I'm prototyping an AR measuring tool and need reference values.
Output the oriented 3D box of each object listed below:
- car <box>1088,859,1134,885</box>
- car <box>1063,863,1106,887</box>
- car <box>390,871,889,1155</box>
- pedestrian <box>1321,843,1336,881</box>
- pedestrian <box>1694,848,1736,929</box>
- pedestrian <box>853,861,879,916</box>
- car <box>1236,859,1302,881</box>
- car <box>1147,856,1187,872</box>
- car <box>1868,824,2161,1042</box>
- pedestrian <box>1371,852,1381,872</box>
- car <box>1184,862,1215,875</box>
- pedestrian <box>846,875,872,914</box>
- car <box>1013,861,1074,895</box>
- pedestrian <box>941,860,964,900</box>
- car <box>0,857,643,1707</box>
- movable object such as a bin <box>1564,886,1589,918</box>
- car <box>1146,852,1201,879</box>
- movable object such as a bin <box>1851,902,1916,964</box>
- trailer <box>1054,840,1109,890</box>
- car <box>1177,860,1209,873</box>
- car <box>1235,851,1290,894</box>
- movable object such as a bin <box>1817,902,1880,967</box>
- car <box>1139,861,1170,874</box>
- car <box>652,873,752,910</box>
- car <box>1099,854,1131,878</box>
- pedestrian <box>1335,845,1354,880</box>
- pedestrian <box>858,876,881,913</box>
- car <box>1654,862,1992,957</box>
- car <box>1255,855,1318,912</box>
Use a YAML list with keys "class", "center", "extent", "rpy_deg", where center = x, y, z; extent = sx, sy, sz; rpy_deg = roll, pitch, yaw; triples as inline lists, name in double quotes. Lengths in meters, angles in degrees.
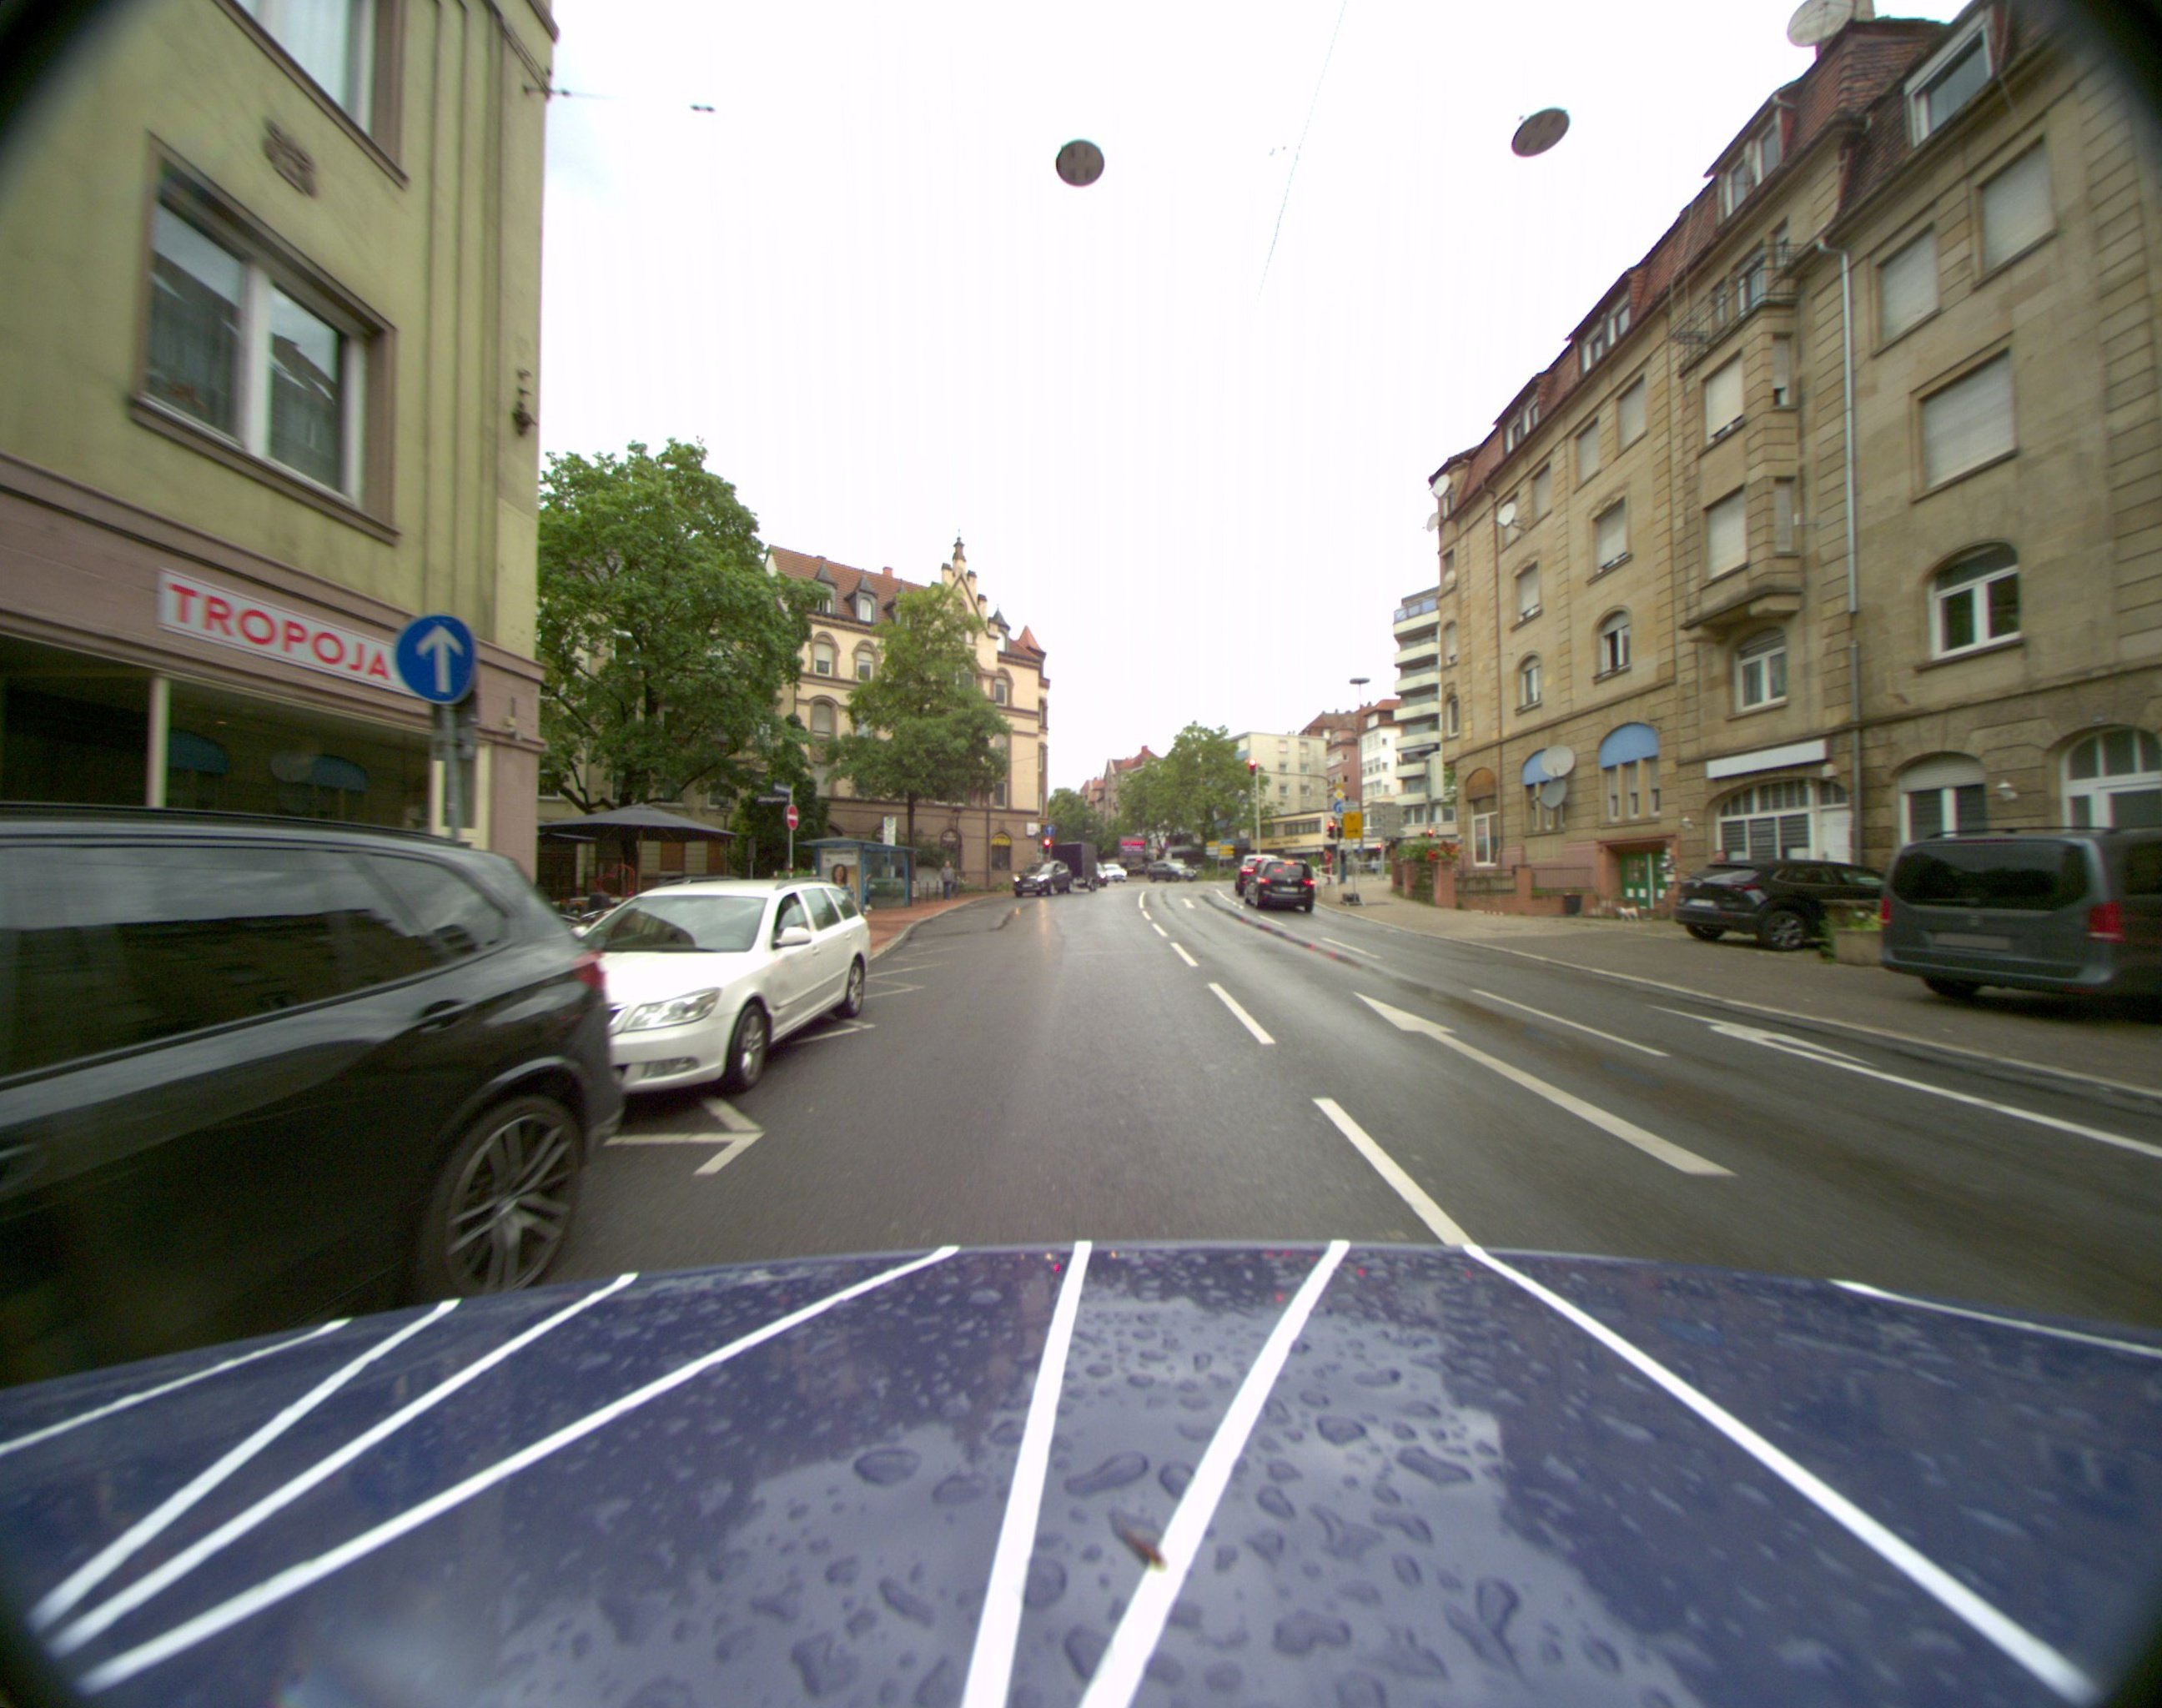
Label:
- class: "car"
  center: [1.907, 1.114, 49.345]
  extent: [1.651, 1.594, 3.660]
  rpy_deg: [0, 0, -23]
- class: "car"
  center: [0.222, 1.463, 53.417]
  extent: [1.651, 1.594, 3.801]
  rpy_deg: [0, 0, -23]
- class: "car"
  center: [-3.220, 1.011, 6.822]
  extent: [1.803, 1.555, 4.492]
  rpy_deg: [-2, 0, 0]
- class: "pedestrian"
  center: [11.933, 0.386, 36.637]
  extent: [0.523, 1.763, 0.694]
  rpy_deg: [-2, 0, 7]
- class: "pedestrian"
  center: [14.320, 0.763, 17.173]
  extent: [0.479, 1.767, 0.564]
  rpy_deg: [-2, 2, -27]
- class: "pedestrian"
  center: [-7.050, 1.135, 24.916]
  extent: [0.559, 1.765, 0.546]
  rpy_deg: [-2, 0, 29]
- class: "car"
  center: [13.220, 1.104, 53.441]
  extent: [4.170, 1.474, 1.761]
  rpy_deg: [-2, -1, 30]
- class: "car"
  center: [11.218, 1.298, 98.973]
  extent: [4.983, 1.966, 1.876]
  rpy_deg: [-2, 1, -27]
- class: "car"
  center: [11.449, 0.652, 8.077]
  extent: [4.689, 1.927, 1.862]
  rpy_deg: [-2, 0, -9]
- class: "pedestrian"
  center: [25.206, 0.702, 64.964]
  extent: [0.618, 1.683, 0.626]
  rpy_deg: [-1, 0, 36]
- class: "car"
  center: [14.440, 1.735, 92.767]
  extent: [3.628, 1.408, 1.626]
  rpy_deg: [-2, 1, -37]
- class: "pedestrian"
  center: [-7.627, 1.384, 26.162]
  extent: [0.570, 1.272, 0.619]
  rpy_deg: [-2, 0, 14]
- class: "car"
  center: [-1.737, 1.107, 36.403]
  extent: [1.860, 1.503, 3.686]
  rpy_deg: [0, 0, 15]
- class: "pedestrian"
  center: [-5.564, 1.129, 32.987]
  extent: [0.572, 1.723, 0.733]
  rpy_deg: [-2, 0, 28]
- class: "car"
  center: [-2.965, 0.903, 1.052]
  extent: [1.883, 1.721, 4.677]
  rpy_deg: [-2, 0, 1]
- class: "movable object such as a bin"
  center: [15.134, 1.452, 23.215]
  extent: [0.476, 0.944, 0.417]
  rpy_deg: [-1, 0, 6]
- class: "car"
  center: [7.174, 0.902, 59.535]
  extent: [1.919, 2.002, 4.499]
  rpy_deg: [-2, 0, -29]
- class: "movable object such as a bin"
  center: [12.356, 1.211, 11.711]
  extent: [0.506, 0.898, 0.441]
  rpy_deg: [-2, 0, 6]
- class: "trailer"
  center: [0.089, 0.600, 42.299]
  extent: [1.936, 2.621, 4.689]
  rpy_deg: [0, 0, 15]
- class: "car"
  center: [13.956, 1.517, 94.800]
  extent: [3.711, 1.408, 1.808]
  rpy_deg: [-2, 1, -33]
- class: "car"
  center: [7.789, 0.739, 33.035]
  extent: [1.968, 1.683, 4.810]
  rpy_deg: [-1, 1, 9]
- class: "movable object such as a bin"
  center: [11.816, 1.225, 11.705]
  extent: [0.506, 0.944, 0.441]
  rpy_deg: [-2, 0, 6]
- class: "car"
  center: [10.086, 1.815, 103.892]
  extent: [3.841, 1.679, 1.802]
  rpy_deg: [-1, 1, -26]
- class: "car"
  center: [-17.388, 1.700, 35.045]
  extent: [1.768, 1.467, 3.856]
  rpy_deg: [-2, -1, 23]
- class: "car"
  center: [3.006, 1.062, 68.073]
  extent: [1.916, 2.002, 4.452]
  rpy_deg: [-2, 0, -8]
- class: "pedestrian"
  center: [13.133, 0.413, 37.842]
  extent: [0.638, 1.692, 0.829]
  rpy_deg: [-2, 0, 3]
- class: "pedestrian"
  center: [-7.461, 1.413, 26.794]
  extent: [0.570, 1.272, 0.535]
  rpy_deg: [-2, 0, 12]
- class: "car"
  center: [13.039, 0.935, 13.577]
  extent: [4.157, 1.501, 1.873]
  rpy_deg: [-1, 0, 1]
- class: "car"
  center: [6.682, 0.913, 25.076]
  extent: [1.623, 1.639, 4.424]
  rpy_deg: [3, 0, 11]
